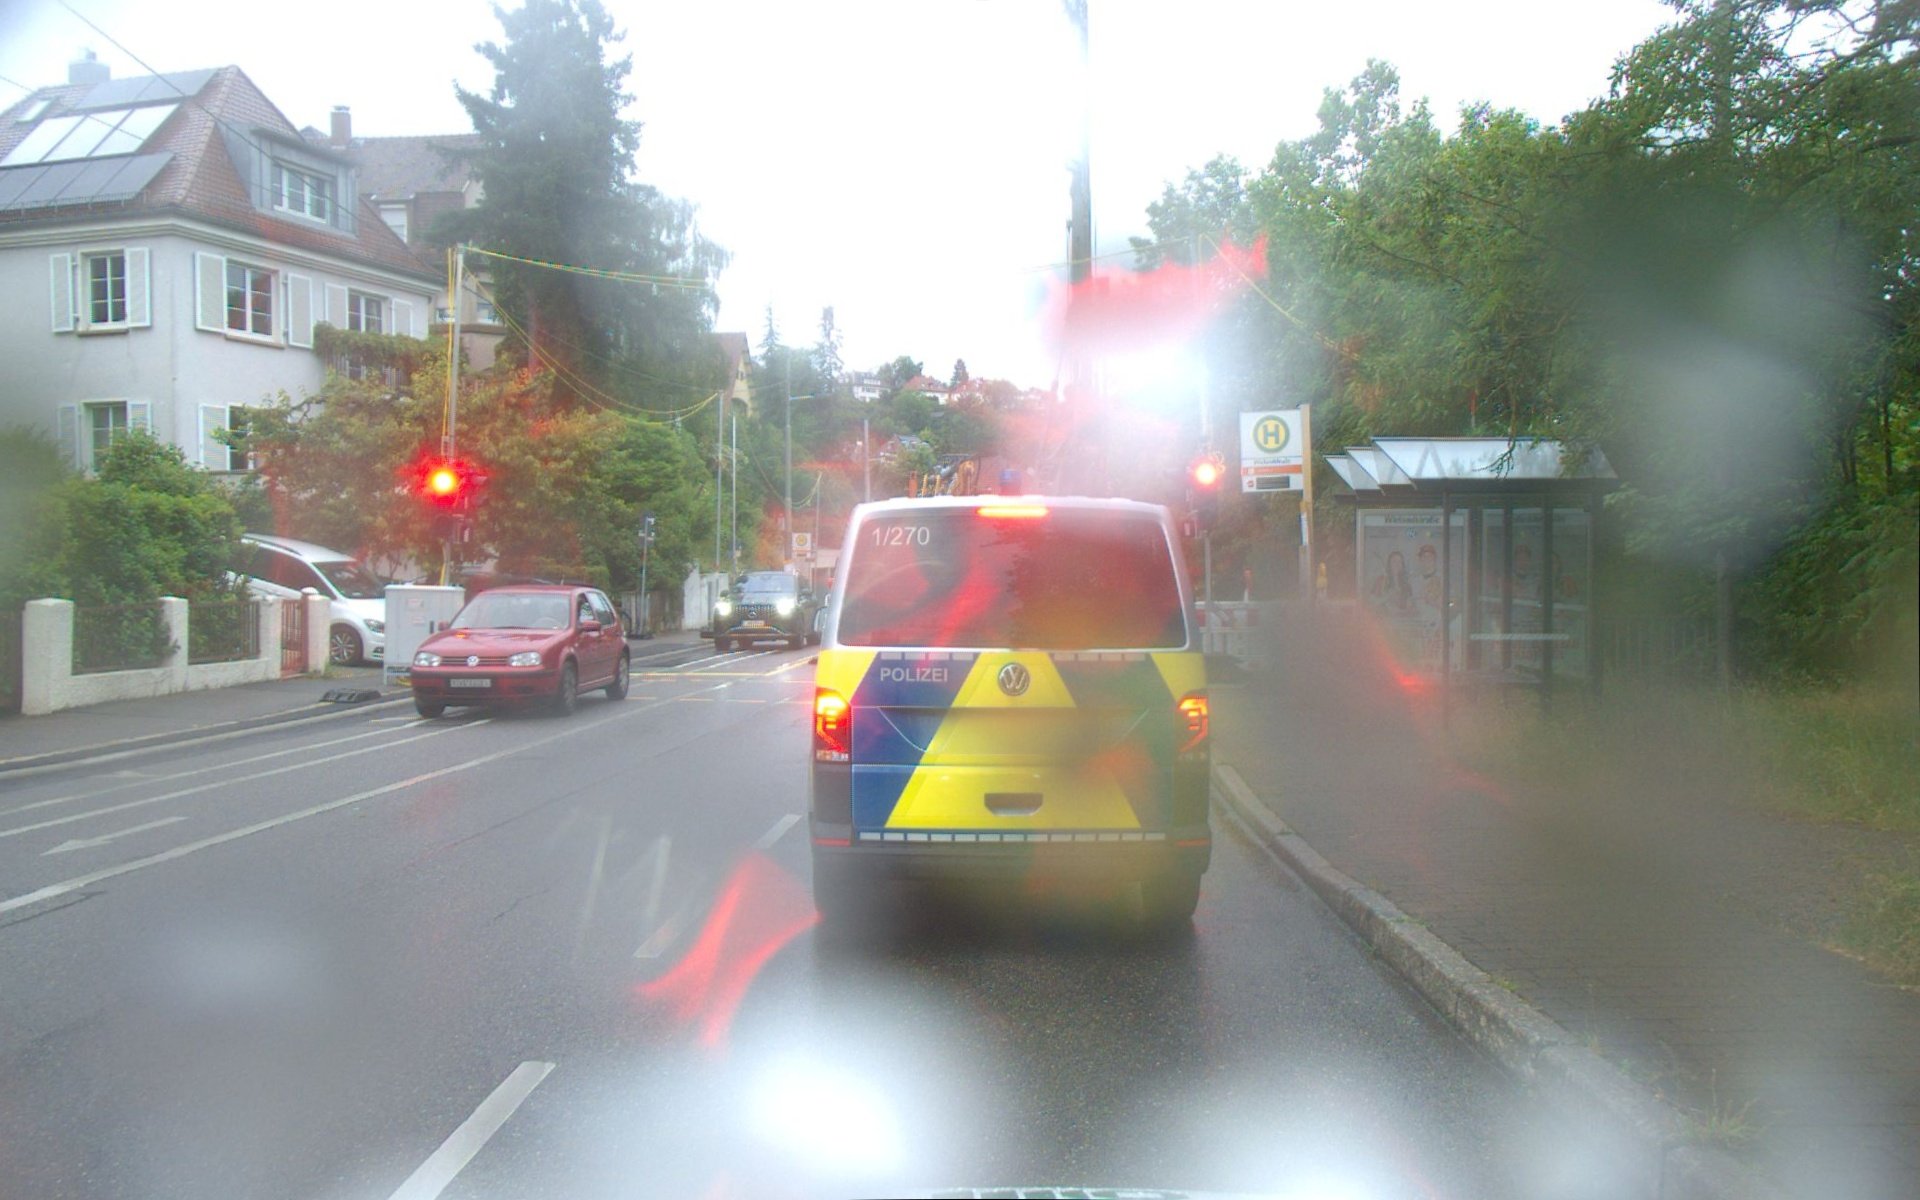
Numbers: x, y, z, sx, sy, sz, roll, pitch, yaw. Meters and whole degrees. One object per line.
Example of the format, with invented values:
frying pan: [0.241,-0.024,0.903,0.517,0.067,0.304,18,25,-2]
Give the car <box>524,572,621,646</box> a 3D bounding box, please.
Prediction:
car: [-8.906,0.181,37.837,1.739,1.512,3.721,1,2,-20]

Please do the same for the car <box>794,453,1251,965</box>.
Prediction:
car: [0.232,0.438,8.829,1.855,2.086,3.999,1,0,-1]

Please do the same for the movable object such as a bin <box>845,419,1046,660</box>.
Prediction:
movable object such as a bin: [-0.162,-1.092,31.647,2.770,4.250,4.384,1,0,14]

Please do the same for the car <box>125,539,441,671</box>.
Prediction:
car: [-11.204,0.063,27.499,4.532,2.042,1.902,1,0,11]

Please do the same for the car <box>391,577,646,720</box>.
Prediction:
car: [-5.071,0.499,19.546,1.727,1.488,3.888,1,1,4]

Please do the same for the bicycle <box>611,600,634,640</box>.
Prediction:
bicycle: [-8.049,0.472,39.463,0.455,0.913,1.628,0,0,-15]

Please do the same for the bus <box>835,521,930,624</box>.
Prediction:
bus: [-3.006,-1.061,67.553,2.782,3.783,12.009,1,0,2]

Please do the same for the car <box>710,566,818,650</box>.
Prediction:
car: [-4.441,0.153,38.115,1.938,1.778,4.553,1,1,0]
